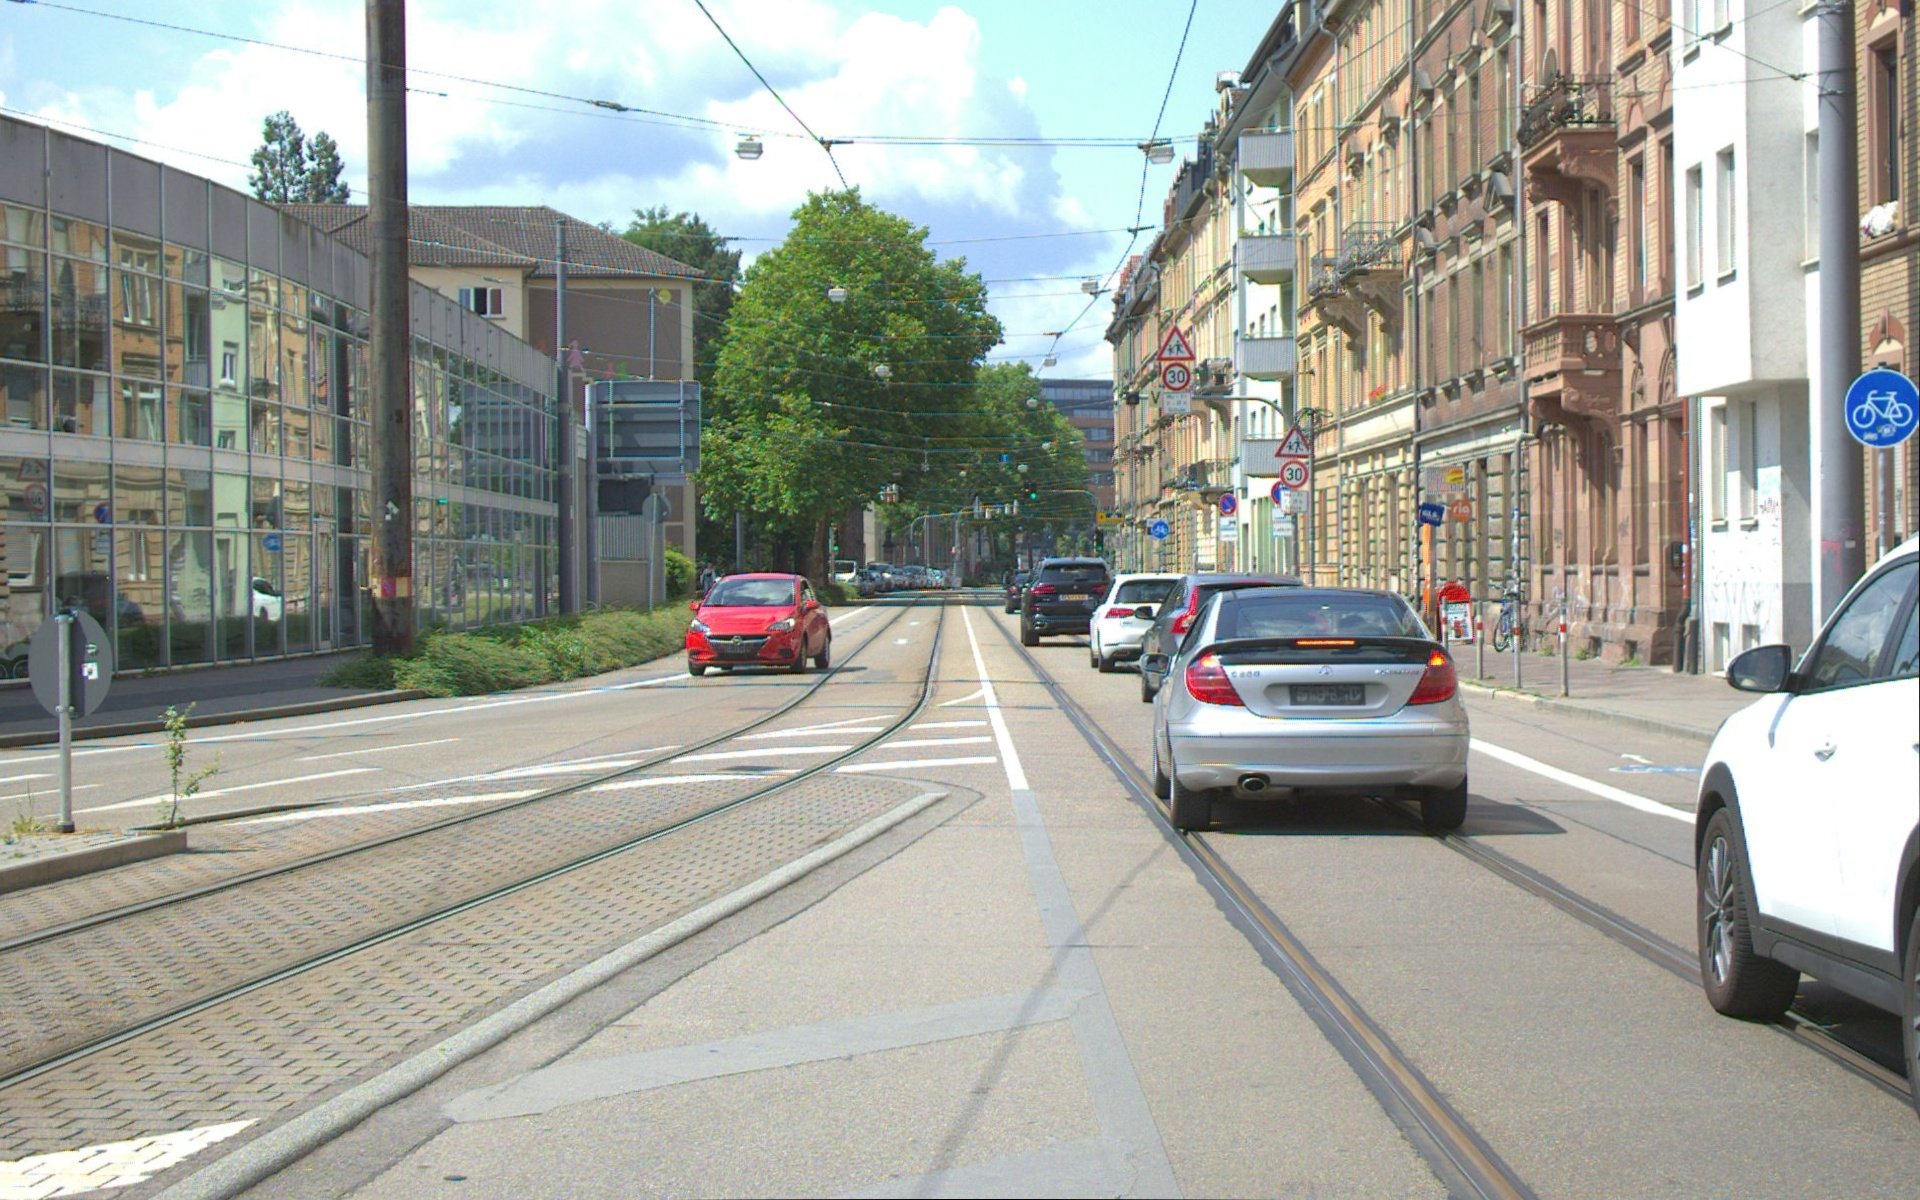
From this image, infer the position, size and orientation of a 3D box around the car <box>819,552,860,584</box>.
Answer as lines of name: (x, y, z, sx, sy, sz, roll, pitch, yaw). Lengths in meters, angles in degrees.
car: (-6.126, -1.652, 175.528, 1.950, 1.626, 4.576, 0, 1, 0)

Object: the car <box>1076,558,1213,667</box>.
car: (2.711, 0.161, 51.204, 1.814, 1.519, 3.956, -1, 1, 0)

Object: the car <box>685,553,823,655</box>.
car: (-2.996, 0.028, 50.640, 1.702, 1.423, 3.902, -1, 1, 1)

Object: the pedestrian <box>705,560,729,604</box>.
pedestrian: (-10.275, -0.761, 145.569, 0.880, 1.859, 1.081, -1, 1, 1)

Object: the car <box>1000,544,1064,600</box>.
car: (2.427, -0.966, 117.509, 1.993, 1.853, 4.000, 0, 1, -1)

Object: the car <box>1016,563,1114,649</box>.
car: (2.075, 0.093, 68.919, 1.814, 1.656, 4.085, -1, 1, 0)

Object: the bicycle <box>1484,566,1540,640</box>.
bicycle: (9.058, 0.038, 56.464, 0.586, 1.174, 2.205, -1, 1, 1)

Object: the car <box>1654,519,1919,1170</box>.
car: (3.352, 0.607, 9.970, 1.852, 1.628, 4.181, 1, 1, 1)

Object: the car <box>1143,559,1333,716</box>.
car: (2.895, 0.353, 36.496, 1.814, 1.519, 4.085, -1, 1, 2)

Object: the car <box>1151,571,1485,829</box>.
car: (2.089, 0.541, 21.056, 1.814, 1.415, 4.187, 0, 0, 3)
